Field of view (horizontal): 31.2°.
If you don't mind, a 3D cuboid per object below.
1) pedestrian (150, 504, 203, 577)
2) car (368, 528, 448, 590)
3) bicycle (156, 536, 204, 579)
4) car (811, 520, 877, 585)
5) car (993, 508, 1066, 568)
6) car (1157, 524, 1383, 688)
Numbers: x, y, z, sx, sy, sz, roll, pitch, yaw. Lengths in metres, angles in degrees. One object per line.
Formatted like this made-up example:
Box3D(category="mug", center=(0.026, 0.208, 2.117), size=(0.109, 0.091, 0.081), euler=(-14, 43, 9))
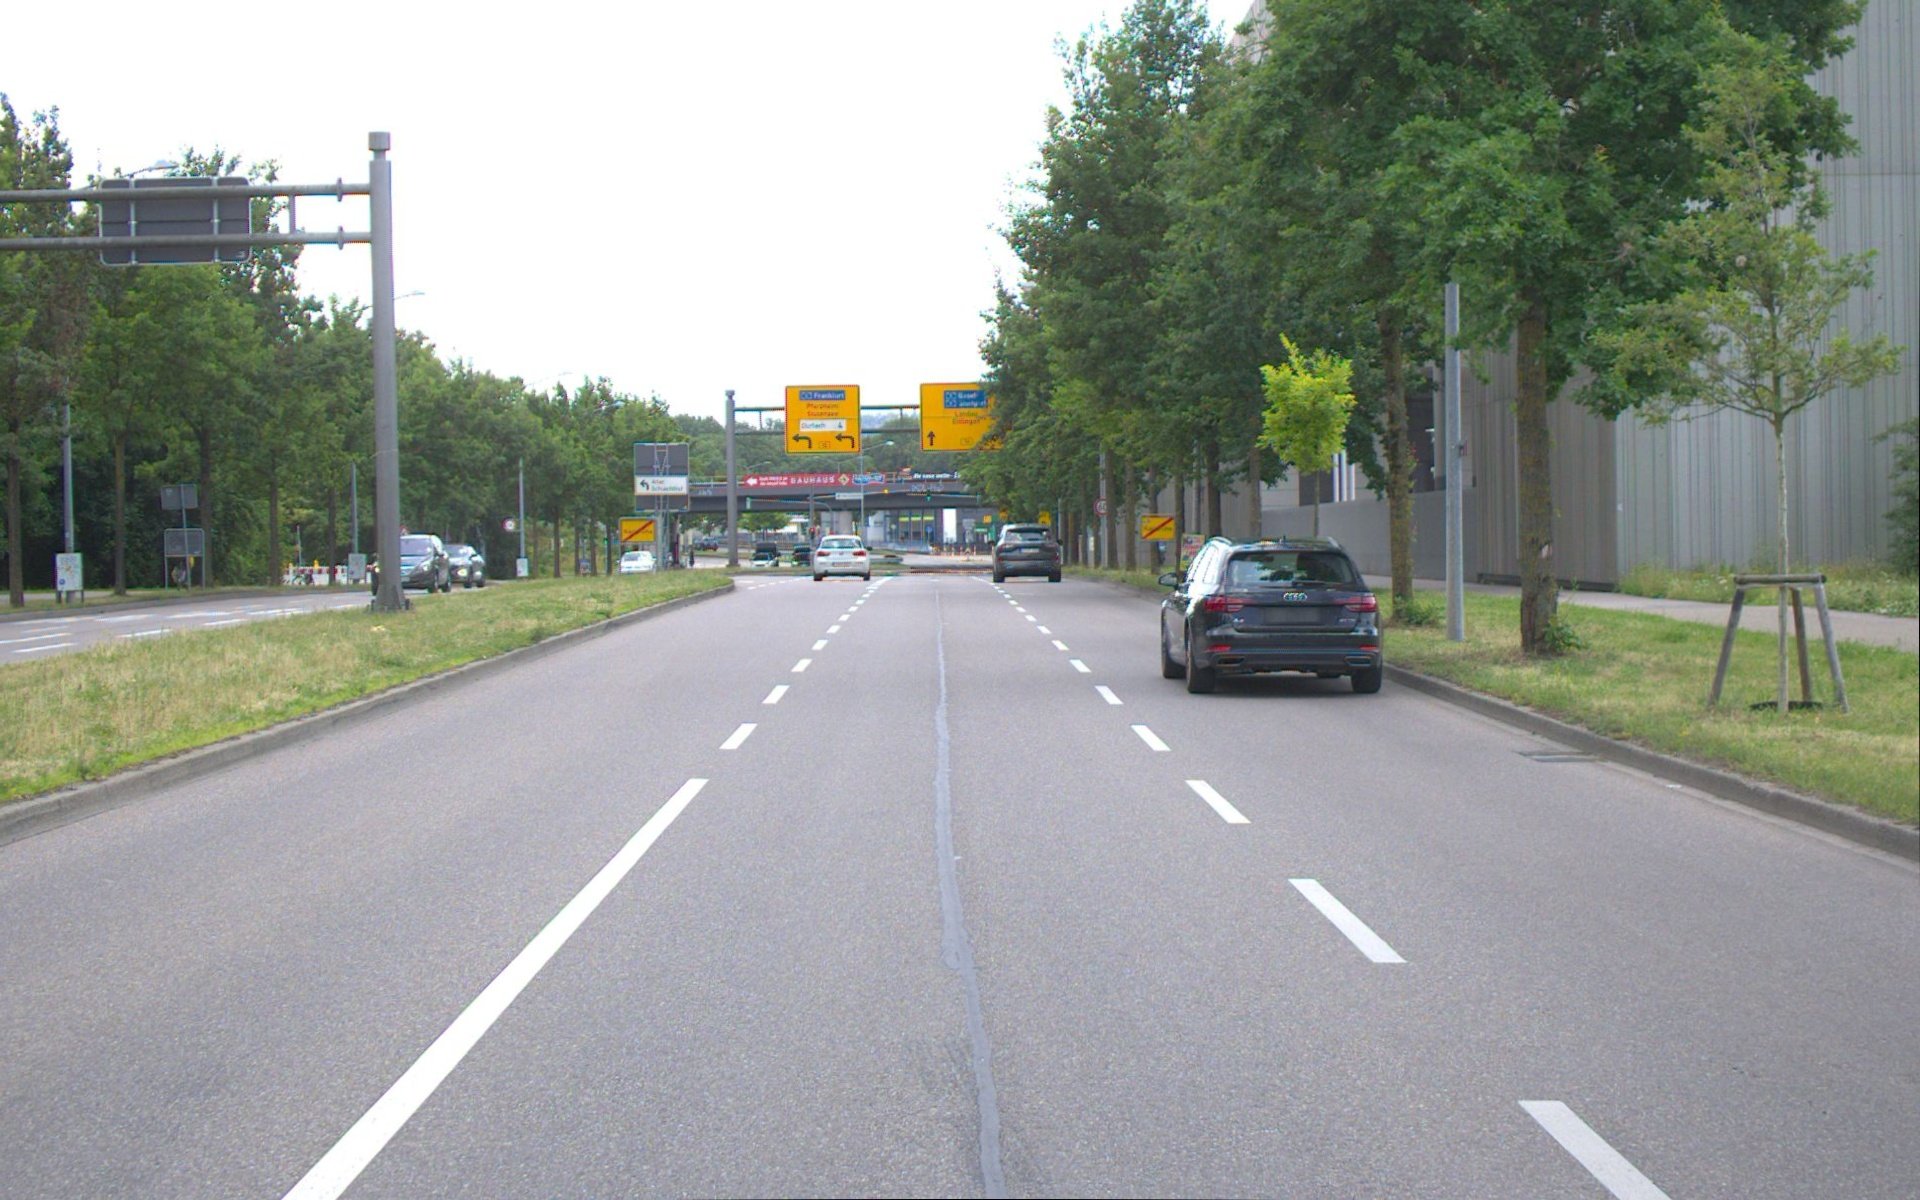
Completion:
Box3D(category="pedestrian", center=(-22.780, -1.736, 99.967), size=(0.970, 2.006, 1.249), euler=(-7, 1, 1))
Box3D(category="car", center=(-14.870, -1.125, 92.783), size=(1.741, 1.563, 4.276), euler=(-2, 1, -5))
Box3D(category="bicycle", center=(-22.717, -1.239, 100.139), size=(0.807, 1.222, 2.502), euler=(-1, 1, 0))
Box3D(category="car", center=(-3.688, -1.507, 108.814), size=(1.993, 2.007, 4.001), euler=(0, 1, -3))
Box3D(category="car", center=(1.987, -1.780, 97.018), size=(1.993, 1.620, 4.309), euler=(-1, 2, 2))
Box3D(category="car", center=(2.885, 0.024, 32.729), size=(1.684, 1.458, 4.000), euler=(0, 1, -2))
